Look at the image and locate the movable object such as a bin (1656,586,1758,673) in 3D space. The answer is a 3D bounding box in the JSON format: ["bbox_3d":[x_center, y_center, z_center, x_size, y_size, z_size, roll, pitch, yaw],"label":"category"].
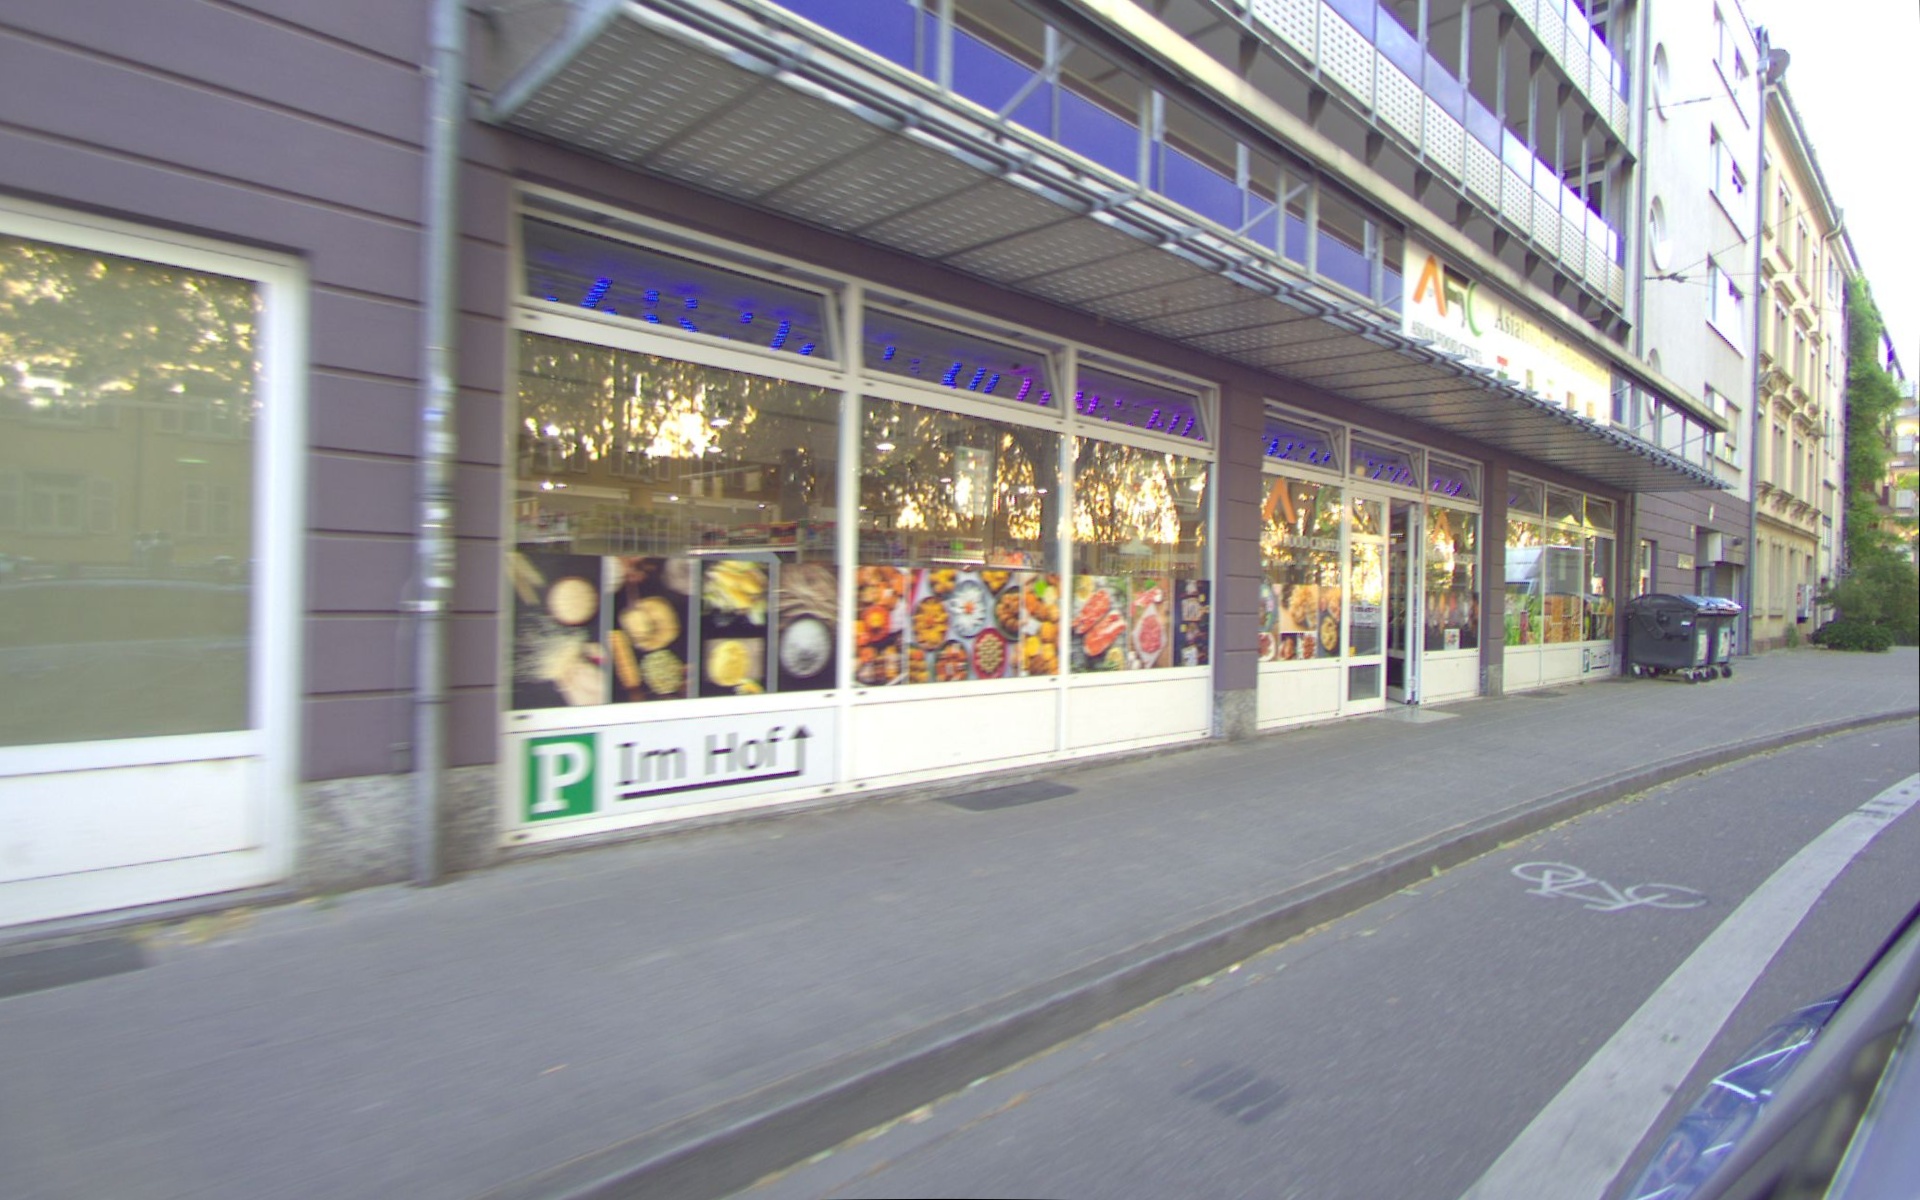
[{"bbox_3d":[13.335,0.509,18.070,1.282,1.464,1.123,1,1,-37],"label":"movable object such as a bin"}]

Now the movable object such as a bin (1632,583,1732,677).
[{"bbox_3d":[11.978,0.471,16.791,1.274,1.465,1.068,1,1,-42],"label":"movable object such as a bin"}]
